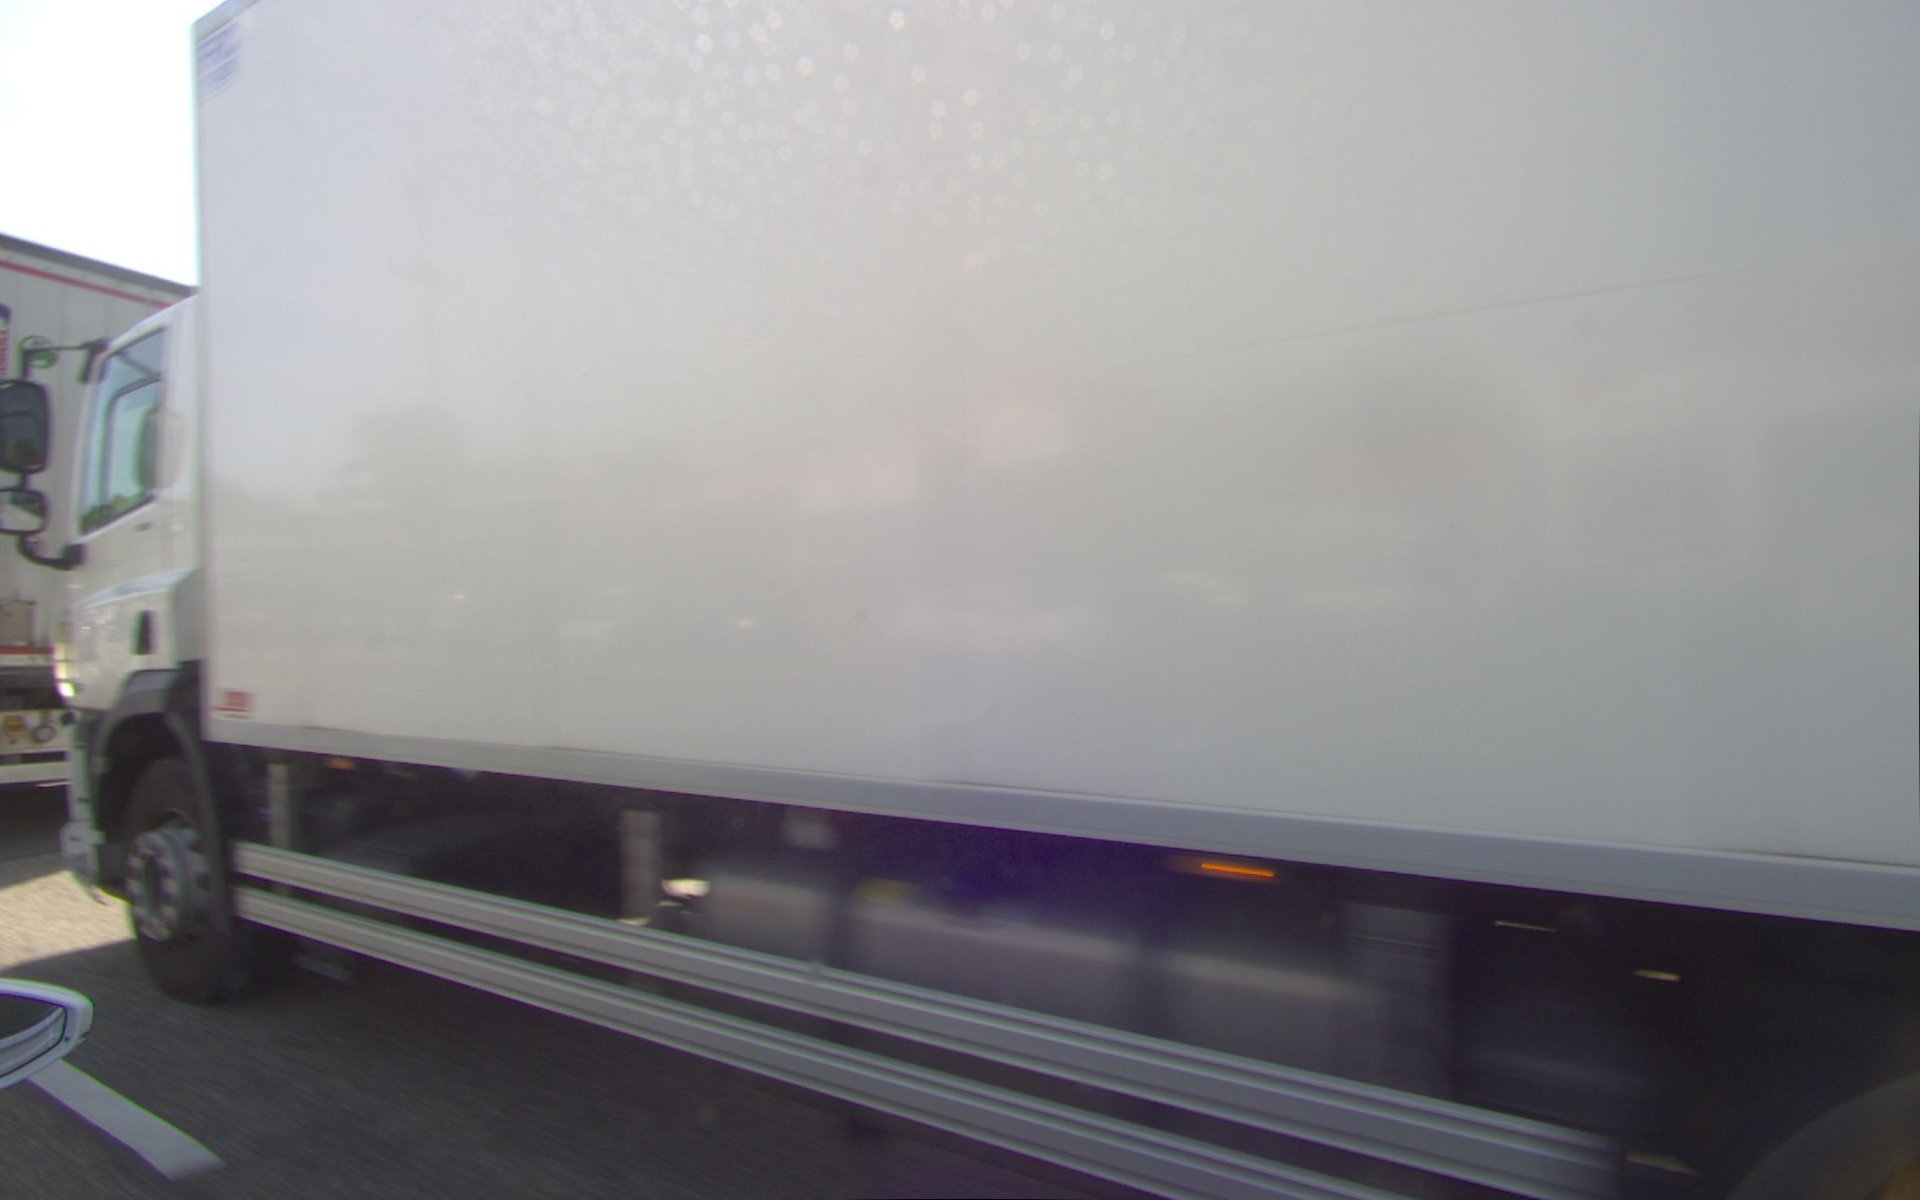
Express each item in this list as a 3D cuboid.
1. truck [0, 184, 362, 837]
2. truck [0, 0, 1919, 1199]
[{"bbox_3d":[-12.975,-0.467,11.606,16.463,4.320,2.887,-1,-2,31],"label":"truck"},{"bbox_3d":[0.809,-0.339,2.897,10.980,3.859,2.875,-1,-2,32],"label":"truck"}]
